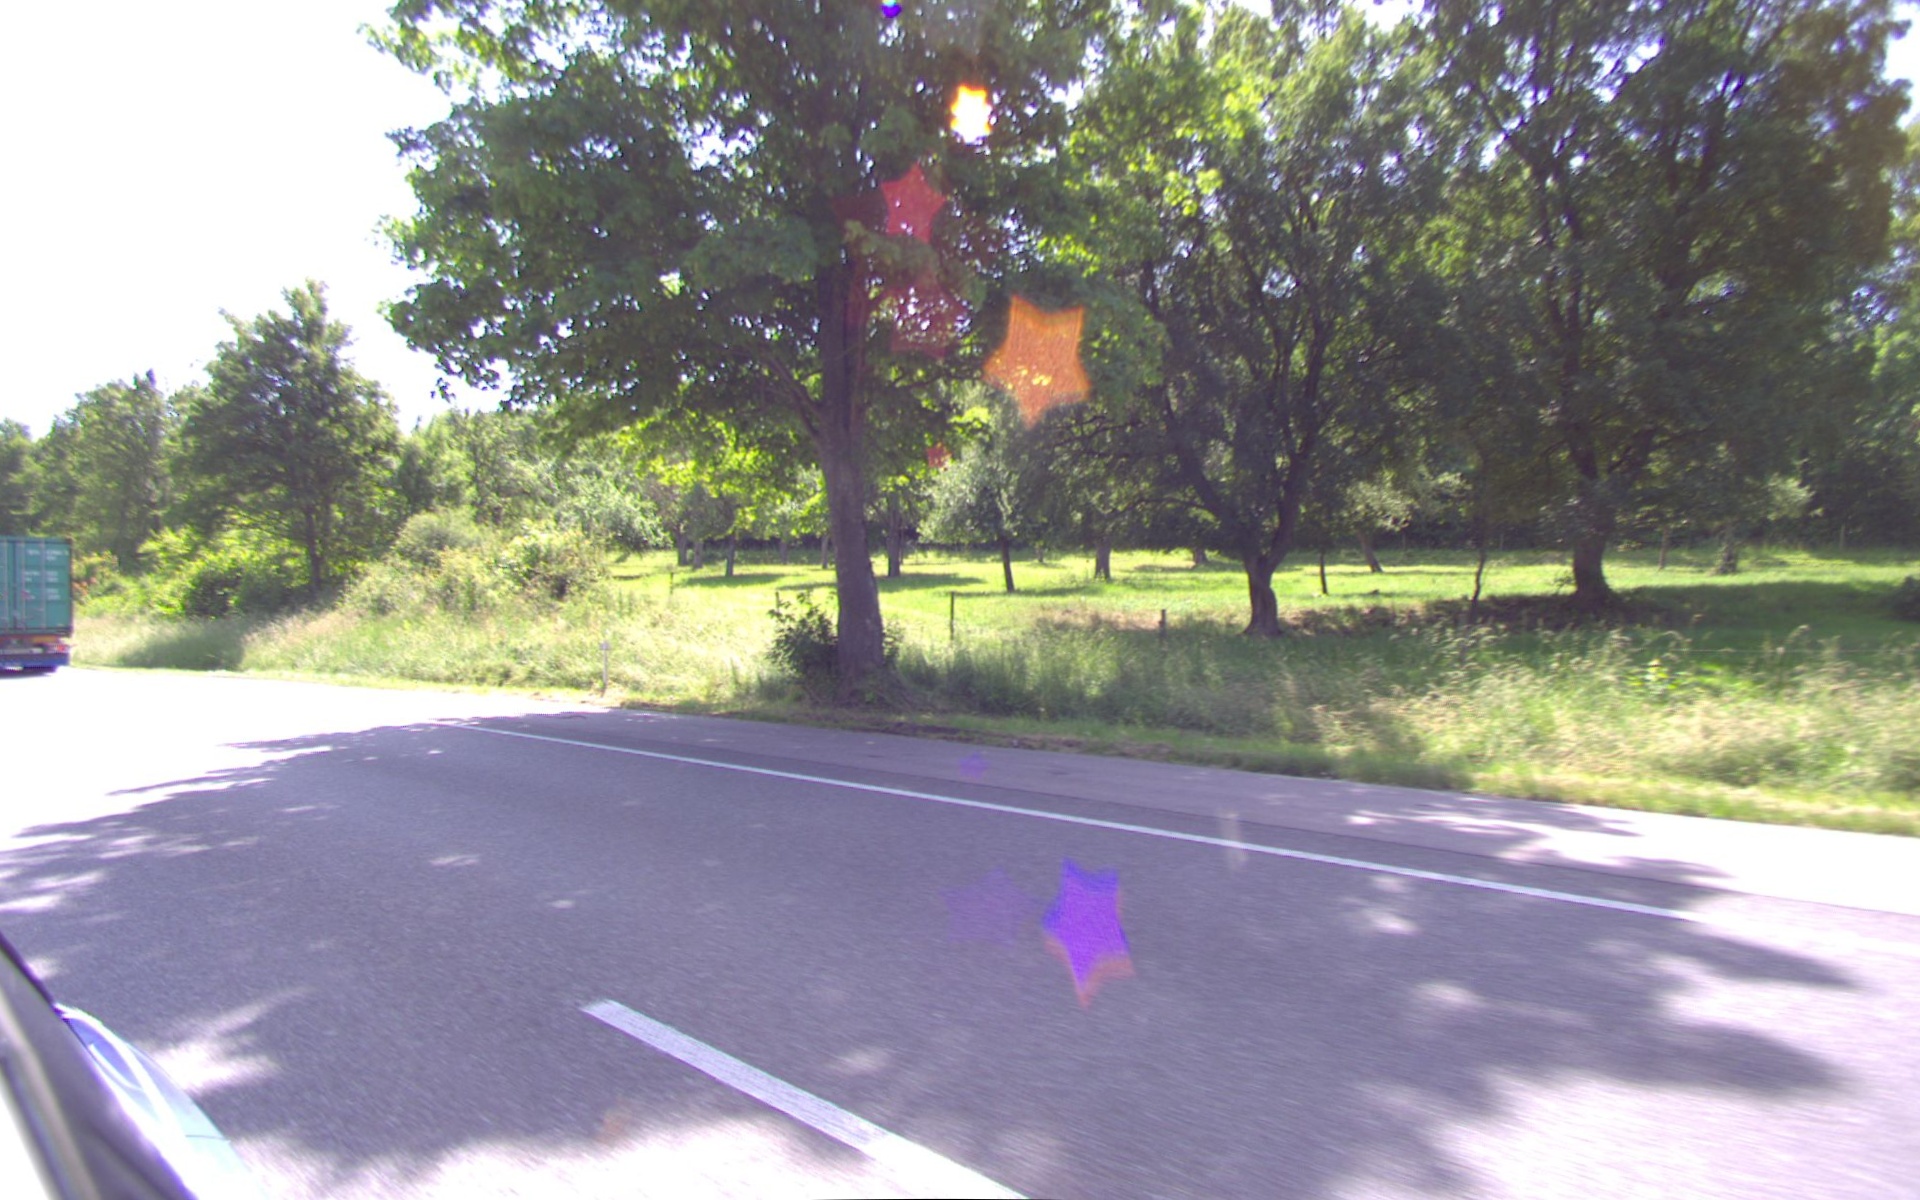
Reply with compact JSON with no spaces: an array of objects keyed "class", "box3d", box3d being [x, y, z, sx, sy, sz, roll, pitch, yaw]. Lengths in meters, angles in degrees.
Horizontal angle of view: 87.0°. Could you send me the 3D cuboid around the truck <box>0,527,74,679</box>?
[{"class":"truck","box3d":[-31.263,0.269,31.642,16.140,3.969,2.535,-2,-1,39]}]
